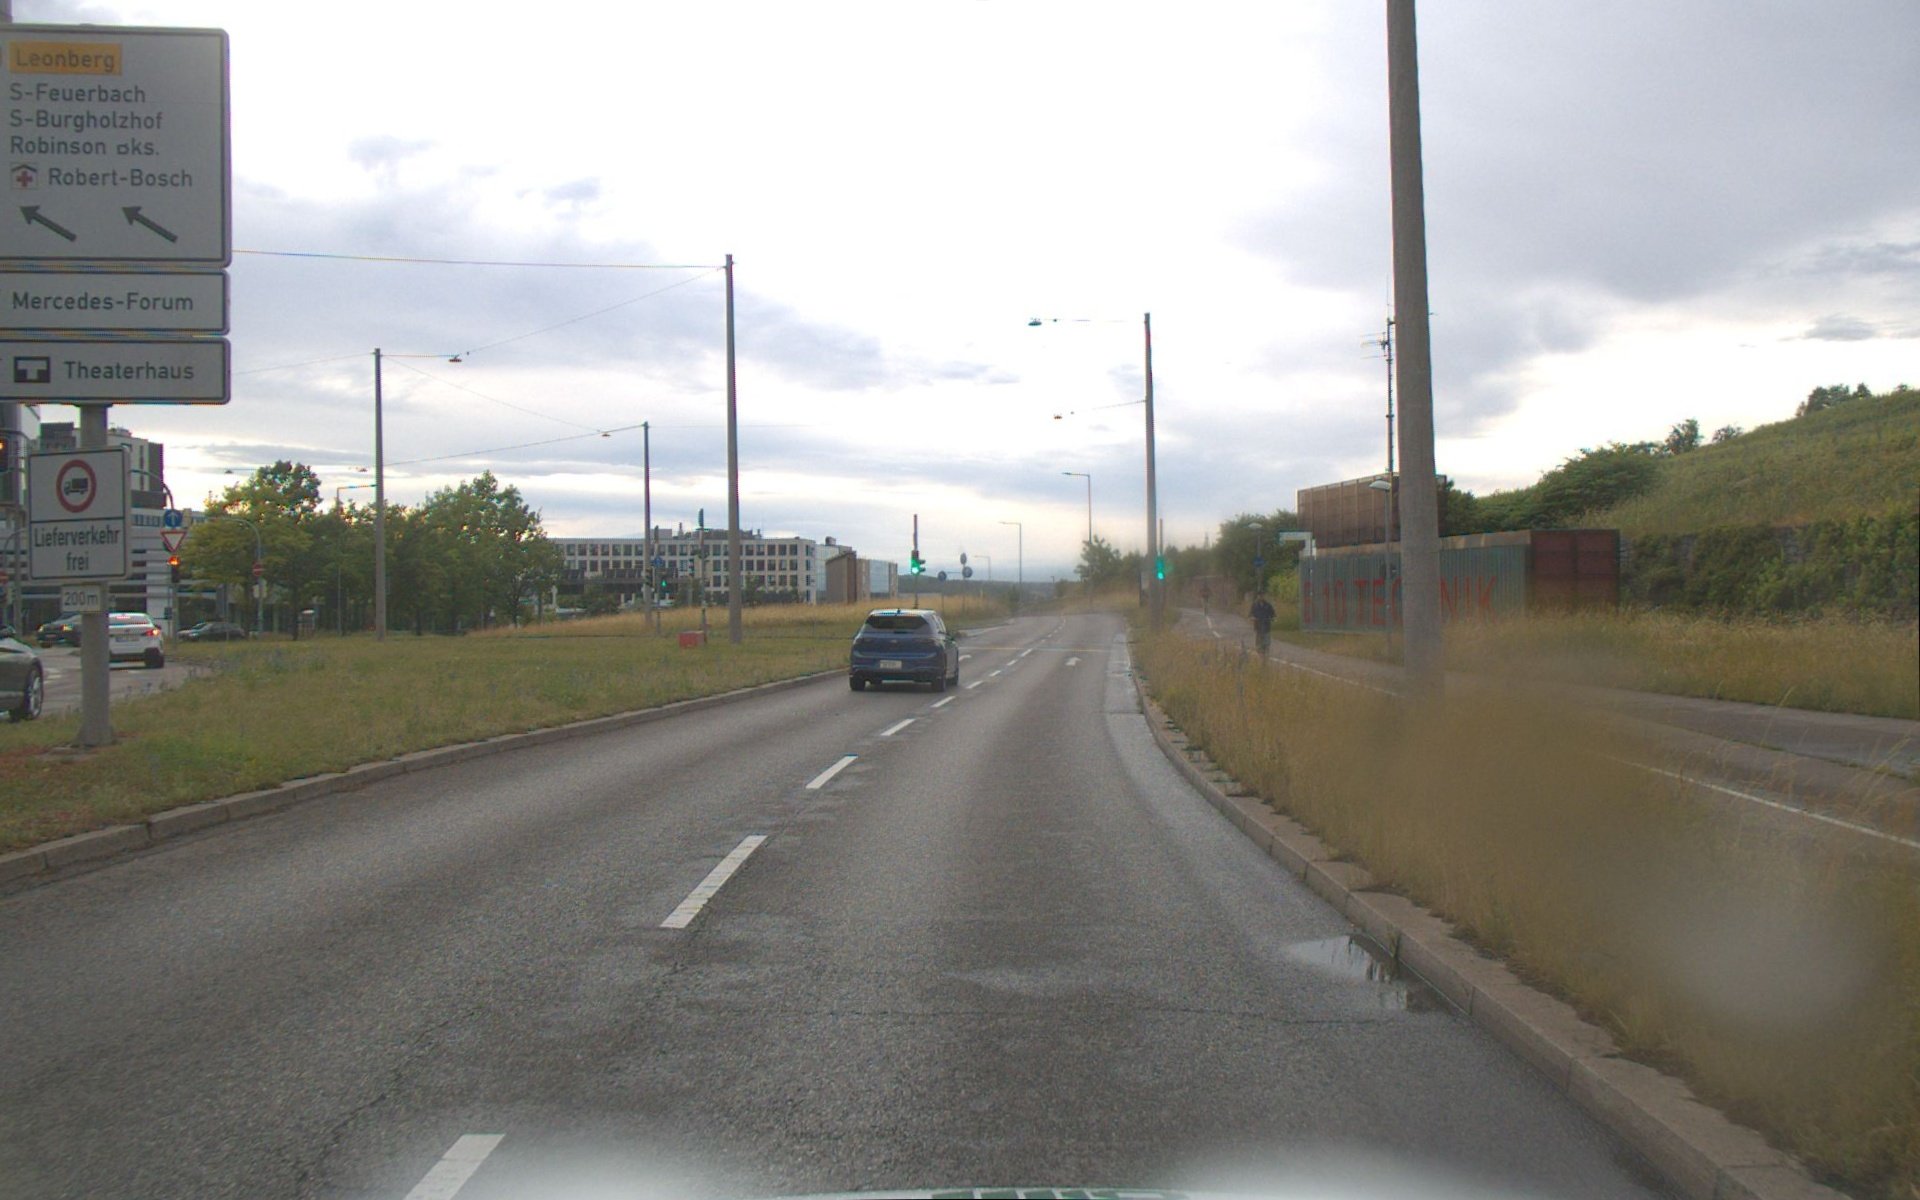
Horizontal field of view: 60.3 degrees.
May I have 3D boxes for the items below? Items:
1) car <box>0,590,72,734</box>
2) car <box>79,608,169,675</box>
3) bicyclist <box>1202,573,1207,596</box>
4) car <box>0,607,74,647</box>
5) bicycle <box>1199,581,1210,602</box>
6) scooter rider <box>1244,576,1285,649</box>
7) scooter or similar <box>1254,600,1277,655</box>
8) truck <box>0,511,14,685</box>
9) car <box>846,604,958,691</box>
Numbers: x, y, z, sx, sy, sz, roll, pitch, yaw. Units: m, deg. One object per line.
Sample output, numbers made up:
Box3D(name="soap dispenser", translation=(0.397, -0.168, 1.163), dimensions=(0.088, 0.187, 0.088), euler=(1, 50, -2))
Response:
Box3D(name="car", translation=(-10.895, 0.657, 17.224), dimensions=(1.836, 1.487, 3.964), euler=(-1, 0, -12))
Box3D(name="car", translation=(-22.217, 1.101, 43.882), dimensions=(1.899, 1.672, 4.347), euler=(-1, -1, -30))
Box3D(name="bicyclist", translation=(12.944, -0.828, 87.542), dimensions=(0.260, 1.216, 0.315), euler=(0, 0, 7))
Box3D(name="car", translation=(-42.046, 1.178, 74.555), dimensions=(1.704, 1.646, 3.744), euler=(1, 1, 12))
Box3D(name="bicycle", translation=(12.947, -0.467, 87.527), dimensions=(0.539, 1.087, 0.616), euler=(0, 1, 7))
Box3D(name="scooter rider", translation=(7.075, 0.289, 38.459), dimensions=(0.789, 1.657, 0.829), euler=(-2, -2, 4))
Box3D(name="scooter or similar", translation=(7.044, 0.622, 38.158), dimensions=(0.392, 1.217, 1.115), euler=(2, 1, 4))
Box3D(name="truck", translation=(-19.072, -0.027, 30.159), dimensions=(2.633, 3.276, 6.496), euler=(0, 1, -25))
Box3D(name="car", translation=(-1.029, 0.843, 31.044), dimensions=(1.800, 1.418, 4.001), euler=(1, 1, 2))
